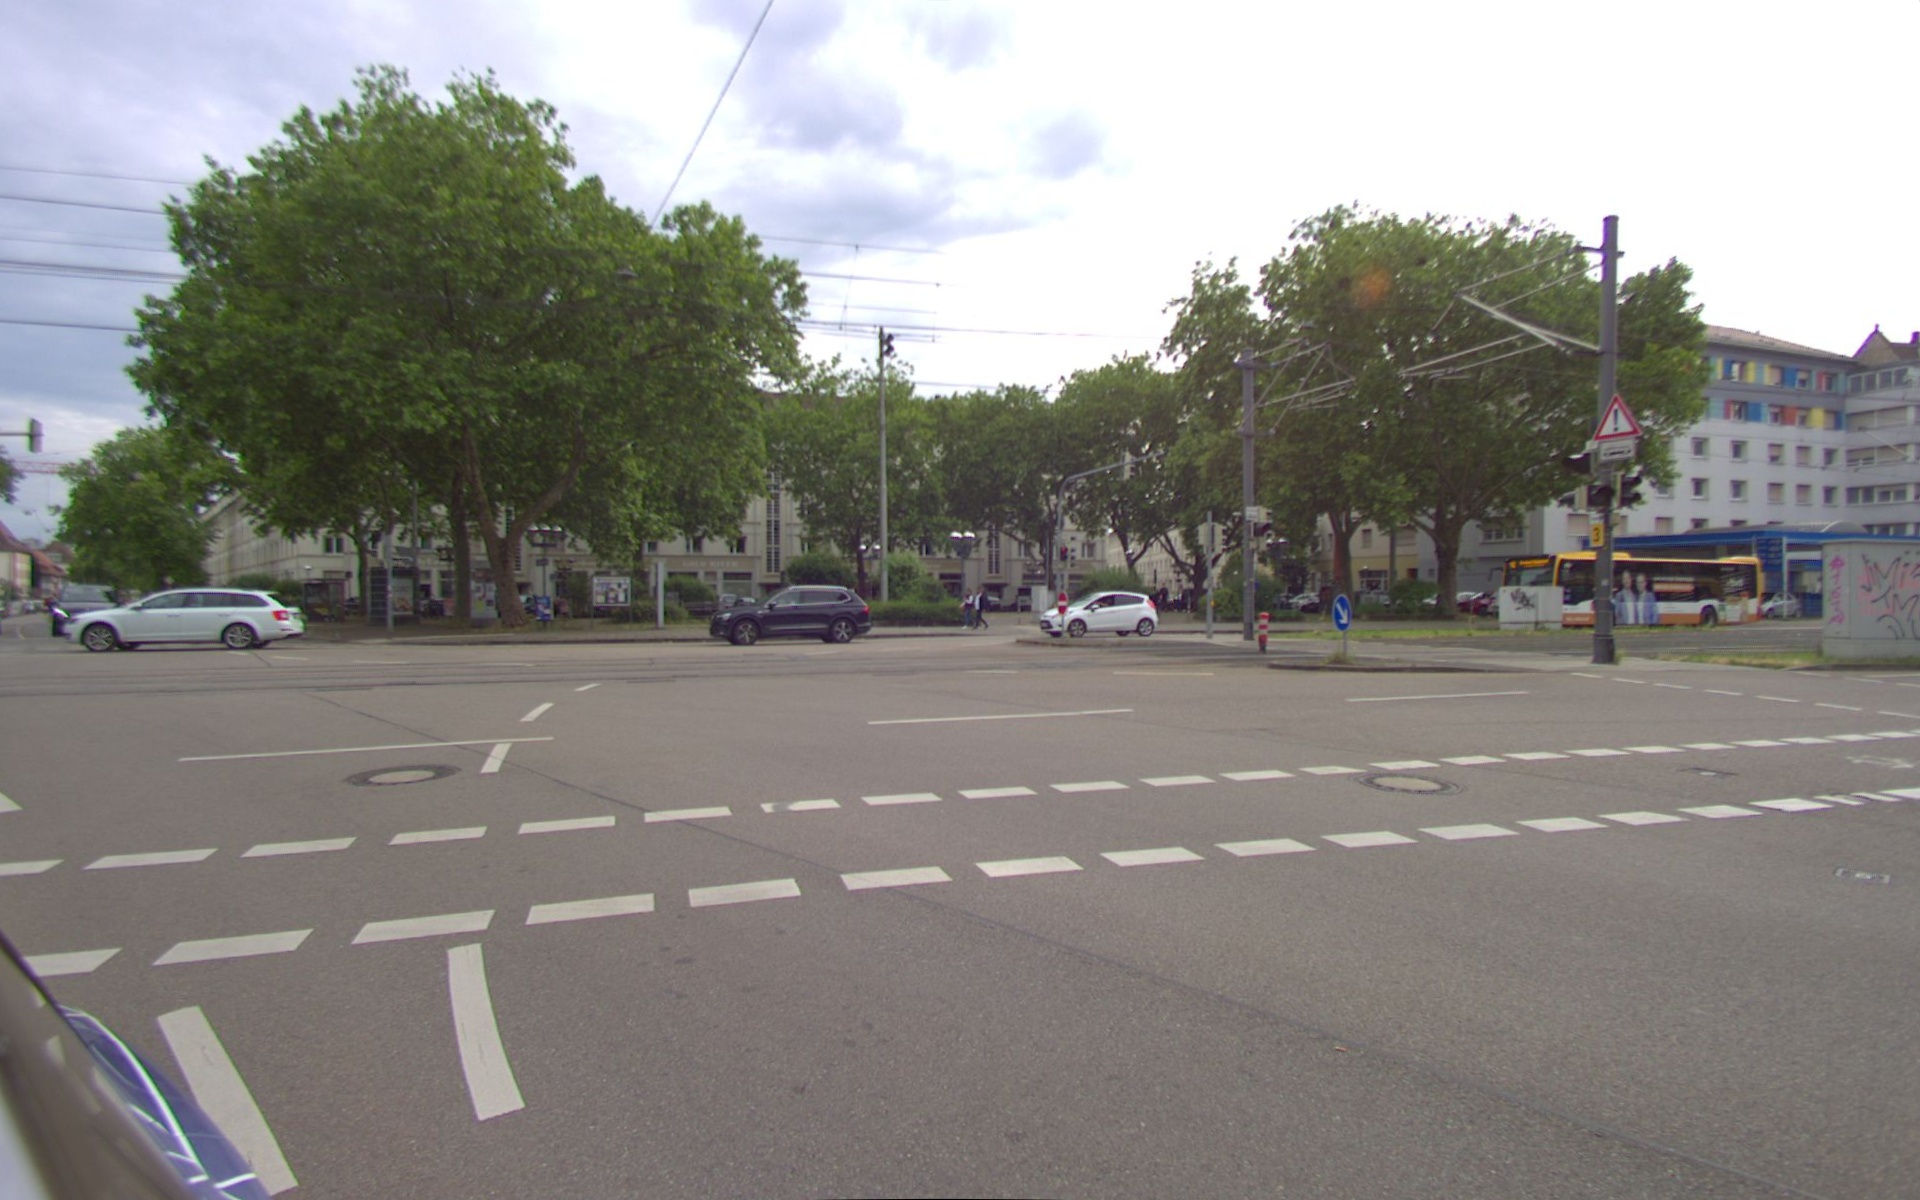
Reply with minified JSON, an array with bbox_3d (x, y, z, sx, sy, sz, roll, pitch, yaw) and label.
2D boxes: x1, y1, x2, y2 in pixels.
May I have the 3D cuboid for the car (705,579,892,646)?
[{"bbox_3d":[-4.630,0.297,29.018,5.061,1.796,1.714,0,2,-19],"label":"car"}]

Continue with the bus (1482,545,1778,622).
[{"bbox_3d":[27.359,-0.701,41.253,12.166,2.877,3.303,0,2,-19],"label":"bus"}]

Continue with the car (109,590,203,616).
[{"bbox_3d":[-53.277,0.170,67.098,4.758,1.676,2.003,-1,1,-42],"label":"car"}]

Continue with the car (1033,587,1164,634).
[{"bbox_3d":[4.478,0.298,32.716,3.823,1.408,1.714,0,2,-19],"label":"car"}]

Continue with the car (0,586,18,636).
[{"bbox_3d":[-34.484,0.383,35.111,1.635,1.732,3.751,-1,-2,-26],"label":"car"}]

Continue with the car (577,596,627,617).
[{"bbox_3d":[-25.285,0.414,71.386,2.049,1.400,4.844,-1,1,-36],"label":"car"}]

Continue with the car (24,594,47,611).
[{"bbox_3d":[-118.375,0.306,129.554,1.968,2.028,4.007,-1,2,-40],"label":"car"}]

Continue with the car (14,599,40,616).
[{"bbox_3d":[-109.811,0.888,119.164,1.968,1.813,4.007,-1,2,-40],"label":"car"}]

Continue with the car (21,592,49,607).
[{"bbox_3d":[-128.573,-0.085,140.708,1.966,2.028,4.013,-1,2,-29],"label":"car"}]

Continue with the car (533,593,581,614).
[{"bbox_3d":[-28.221,0.207,70.808,1.967,1.400,4.844,-1,1,-36],"label":"car"}]

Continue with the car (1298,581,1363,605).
[{"bbox_3d":[24.958,-0.489,68.144,3.931,1.586,1.698,0,0,-19],"label":"car"}]

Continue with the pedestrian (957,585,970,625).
[{"bbox_3d":[0.120,0.177,38.347,0.367,1.490,0.363,0,1,-26],"label":"pedestrian"}]

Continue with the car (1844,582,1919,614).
[{"bbox_3d":[42.833,-0.107,46.433,3.823,1.368,1.714,0,2,-19],"label":"car"}]

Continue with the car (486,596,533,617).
[{"bbox_3d":[-30.666,0.425,68.843,1.967,1.400,4.844,-1,1,-36],"label":"car"}]

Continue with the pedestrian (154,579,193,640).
[{"bbox_3d":[-25.111,0.284,32.320,0.683,1.900,0.685,1,2,16],"label":"pedestrian"}]

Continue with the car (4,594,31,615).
[{"bbox_3d":[-97.239,0.459,104.428,1.970,2.028,4.004,-1,2,-43],"label":"car"}]

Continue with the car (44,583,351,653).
[{"bbox_3d":[-18.023,0.393,24.317,5.603,1.537,1.853,0,-1,-22],"label":"car"}]

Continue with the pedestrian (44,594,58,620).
[{"bbox_3d":[-61.736,0.454,68.729,0.601,1.768,0.452,-1,2,-37],"label":"pedestrian"}]

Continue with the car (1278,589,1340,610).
[{"bbox_3d":[24.204,-0.077,70.233,3.823,1.368,1.714,0,2,-19],"label":"car"}]

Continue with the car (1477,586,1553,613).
[{"bbox_3d":[29.672,-0.052,54.127,3.345,1.368,1.714,0,2,-19],"label":"car"}]

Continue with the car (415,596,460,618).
[{"bbox_3d":[-35.174,0.469,68.072,1.967,1.400,4.844,-1,1,-36],"label":"car"}]

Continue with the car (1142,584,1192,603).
[{"bbox_3d":[17.995,-0.606,87.837,3.930,1.585,1.698,-1,2,-22],"label":"car"}]

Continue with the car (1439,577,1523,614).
[{"bbox_3d":[29.106,-0.260,56.561,3.931,2.029,2.006,-1,0,-20],"label":"car"}]

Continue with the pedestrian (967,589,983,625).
[{"bbox_3d":[0.563,0.257,38.309,0.461,1.336,0.458,-1,1,-26],"label":"pedestrian"}]

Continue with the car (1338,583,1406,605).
[{"bbox_3d":[26.234,-0.390,64.406,3.823,1.368,1.714,0,2,-19],"label":"car"}]

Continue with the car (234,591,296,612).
[{"bbox_3d":[-50.486,0.101,73.494,3.970,1.497,1.790,0,1,21],"label":"car"}]

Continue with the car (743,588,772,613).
[{"bbox_3d":[-17.138,0.015,85.372,1.966,2.029,4.012,0,0,-18],"label":"car"}]

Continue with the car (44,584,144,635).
[{"bbox_3d":[-31.234,0.363,36.623,1.879,1.732,3.751,-1,-2,-26],"label":"car"}]
